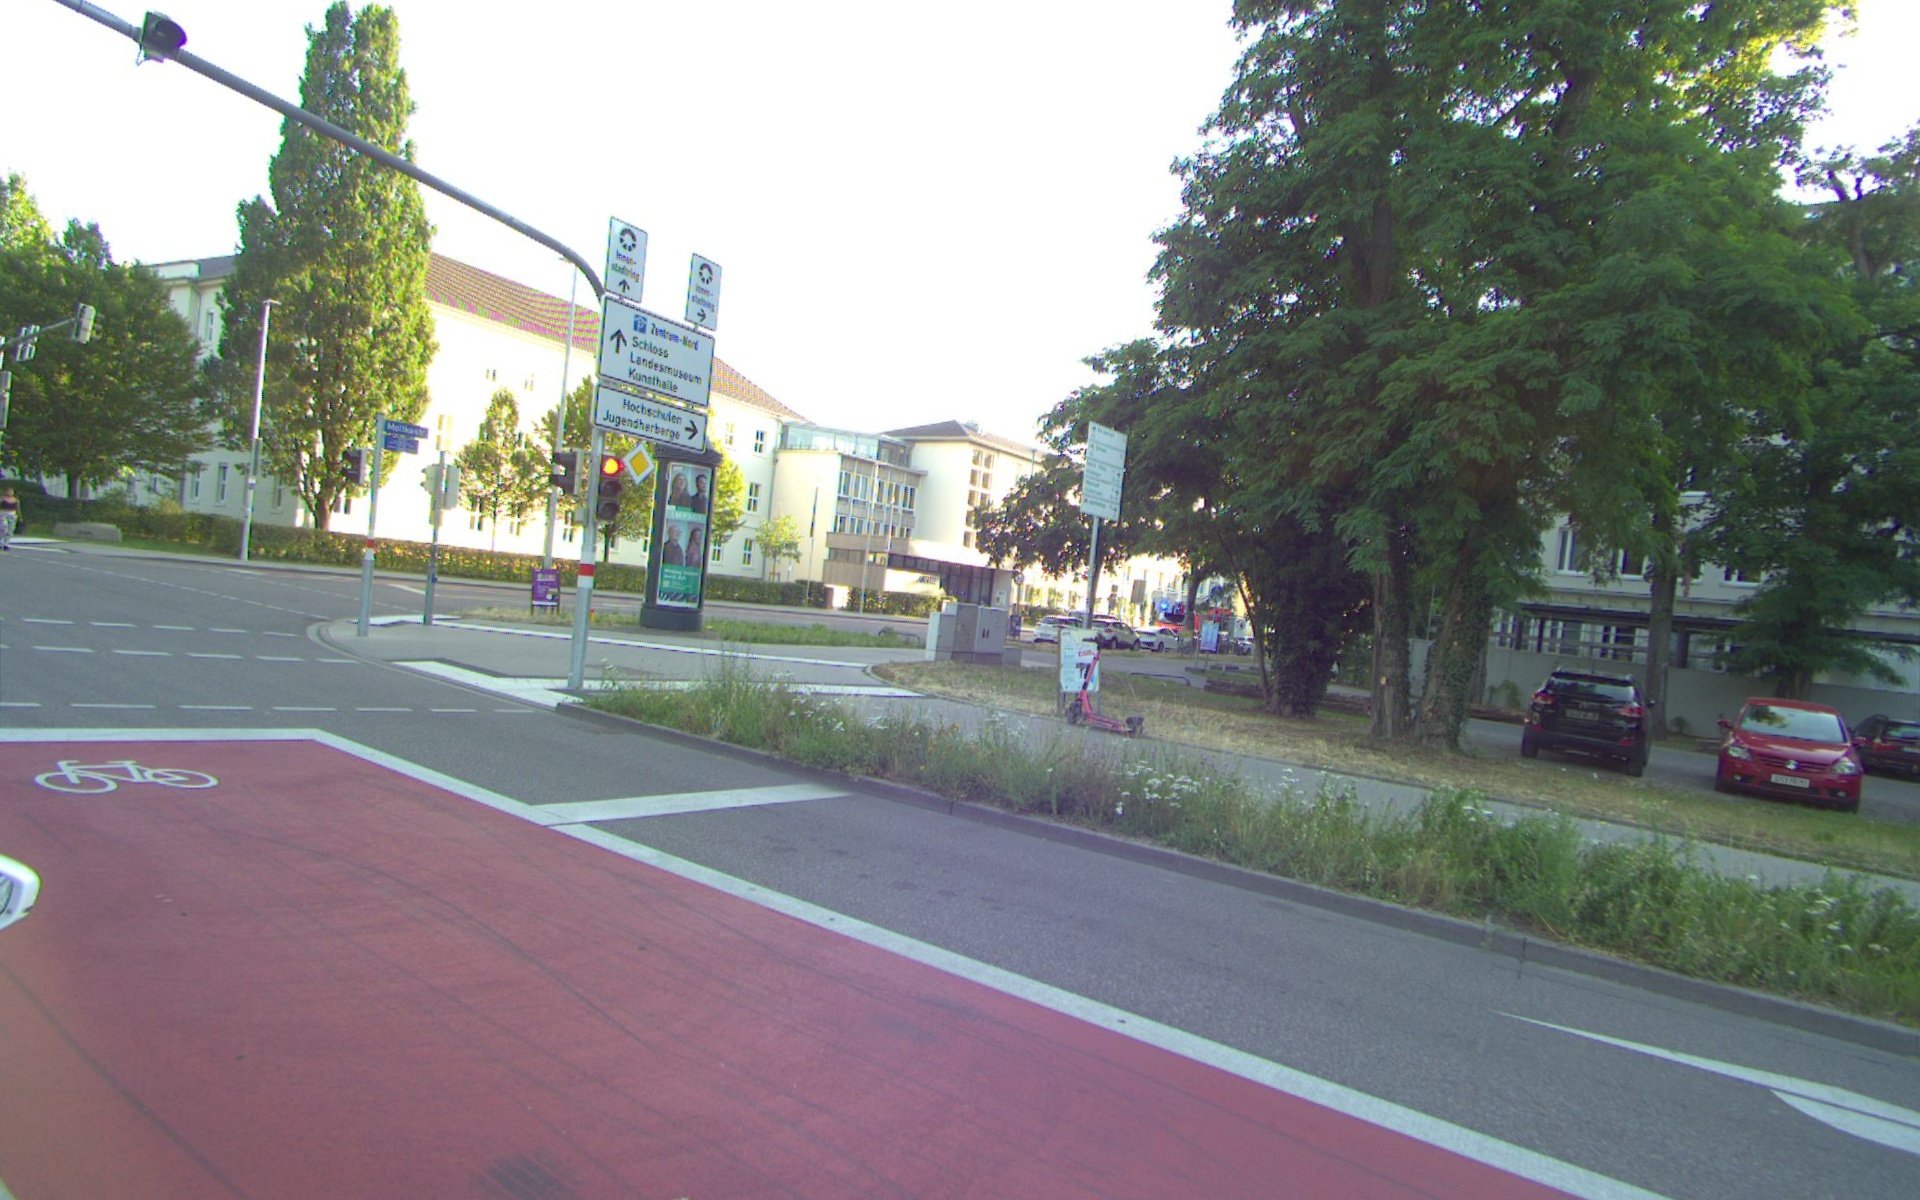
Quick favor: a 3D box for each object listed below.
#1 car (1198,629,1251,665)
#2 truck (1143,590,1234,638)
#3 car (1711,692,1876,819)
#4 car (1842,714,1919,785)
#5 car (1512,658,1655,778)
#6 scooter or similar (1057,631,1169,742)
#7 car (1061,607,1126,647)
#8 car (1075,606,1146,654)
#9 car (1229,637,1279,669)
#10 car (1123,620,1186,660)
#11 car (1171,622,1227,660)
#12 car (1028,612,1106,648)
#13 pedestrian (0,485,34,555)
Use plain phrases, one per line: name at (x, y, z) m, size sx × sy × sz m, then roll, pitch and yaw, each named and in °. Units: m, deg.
car at (16.885, 3.004, 64.074) m, size 1.789 × 1.893 × 4.136 m, roll 7°, pitch -1°, yaw 35°
truck at (15.528, 1.031, 67.679) m, size 2.327 × 2.315 × 10.049 m, roll 7°, pitch -1°, yaw 34°
car at (13.632, 2.435, 16.620) m, size 1.759 × 1.581 × 3.984 m, roll 7°, pitch 0°, yaw 38°
car at (22.820, 3.614, 24.245) m, size 1.873 × 1.459 × 3.987 m, roll 7°, pitch -1°, yaw 37°
car at (11.405, 2.088, 18.282) m, size 1.808 × 1.715 × 3.899 m, roll 7°, pitch -1°, yaw 36°
scooter or similar at (1.967, 1.101, 13.030) m, size 1.289 × 1.247 × 0.311 m, roll 7°, pitch 1°, yaw 32°
car at (7.413, 1.513, 55.558) m, size 1.720 × 1.783 × 3.989 m, roll 7°, pitch -1°, yaw 35°
car at (7.723, 1.548, 51.408) m, size 1.713 × 2.038 × 3.988 m, roll 7°, pitch -1°, yaw 36°
car at (20.036, 3.633, 68.450) m, size 1.873 × 1.831 × 3.988 m, roll 7°, pitch -1°, yaw 36°
car at (10.733, 2.236, 55.324) m, size 1.720 × 1.783 × 3.989 m, roll 7°, pitch -1°, yaw 35°
car at (14.268, 2.466, 59.945) m, size 1.698 × 1.879 × 3.989 m, roll 7°, pitch -1°, yaw 35°
car at (5.134, 1.452, 47.929) m, size 1.793 × 1.358 × 3.985 m, roll 6°, pitch 0°, yaw 37°
pedestrian at (-23.920, -2.023, 25.313) m, size 0.679 × 1.656 × 0.601 m, roll 8°, pitch 1°, yaw 27°
